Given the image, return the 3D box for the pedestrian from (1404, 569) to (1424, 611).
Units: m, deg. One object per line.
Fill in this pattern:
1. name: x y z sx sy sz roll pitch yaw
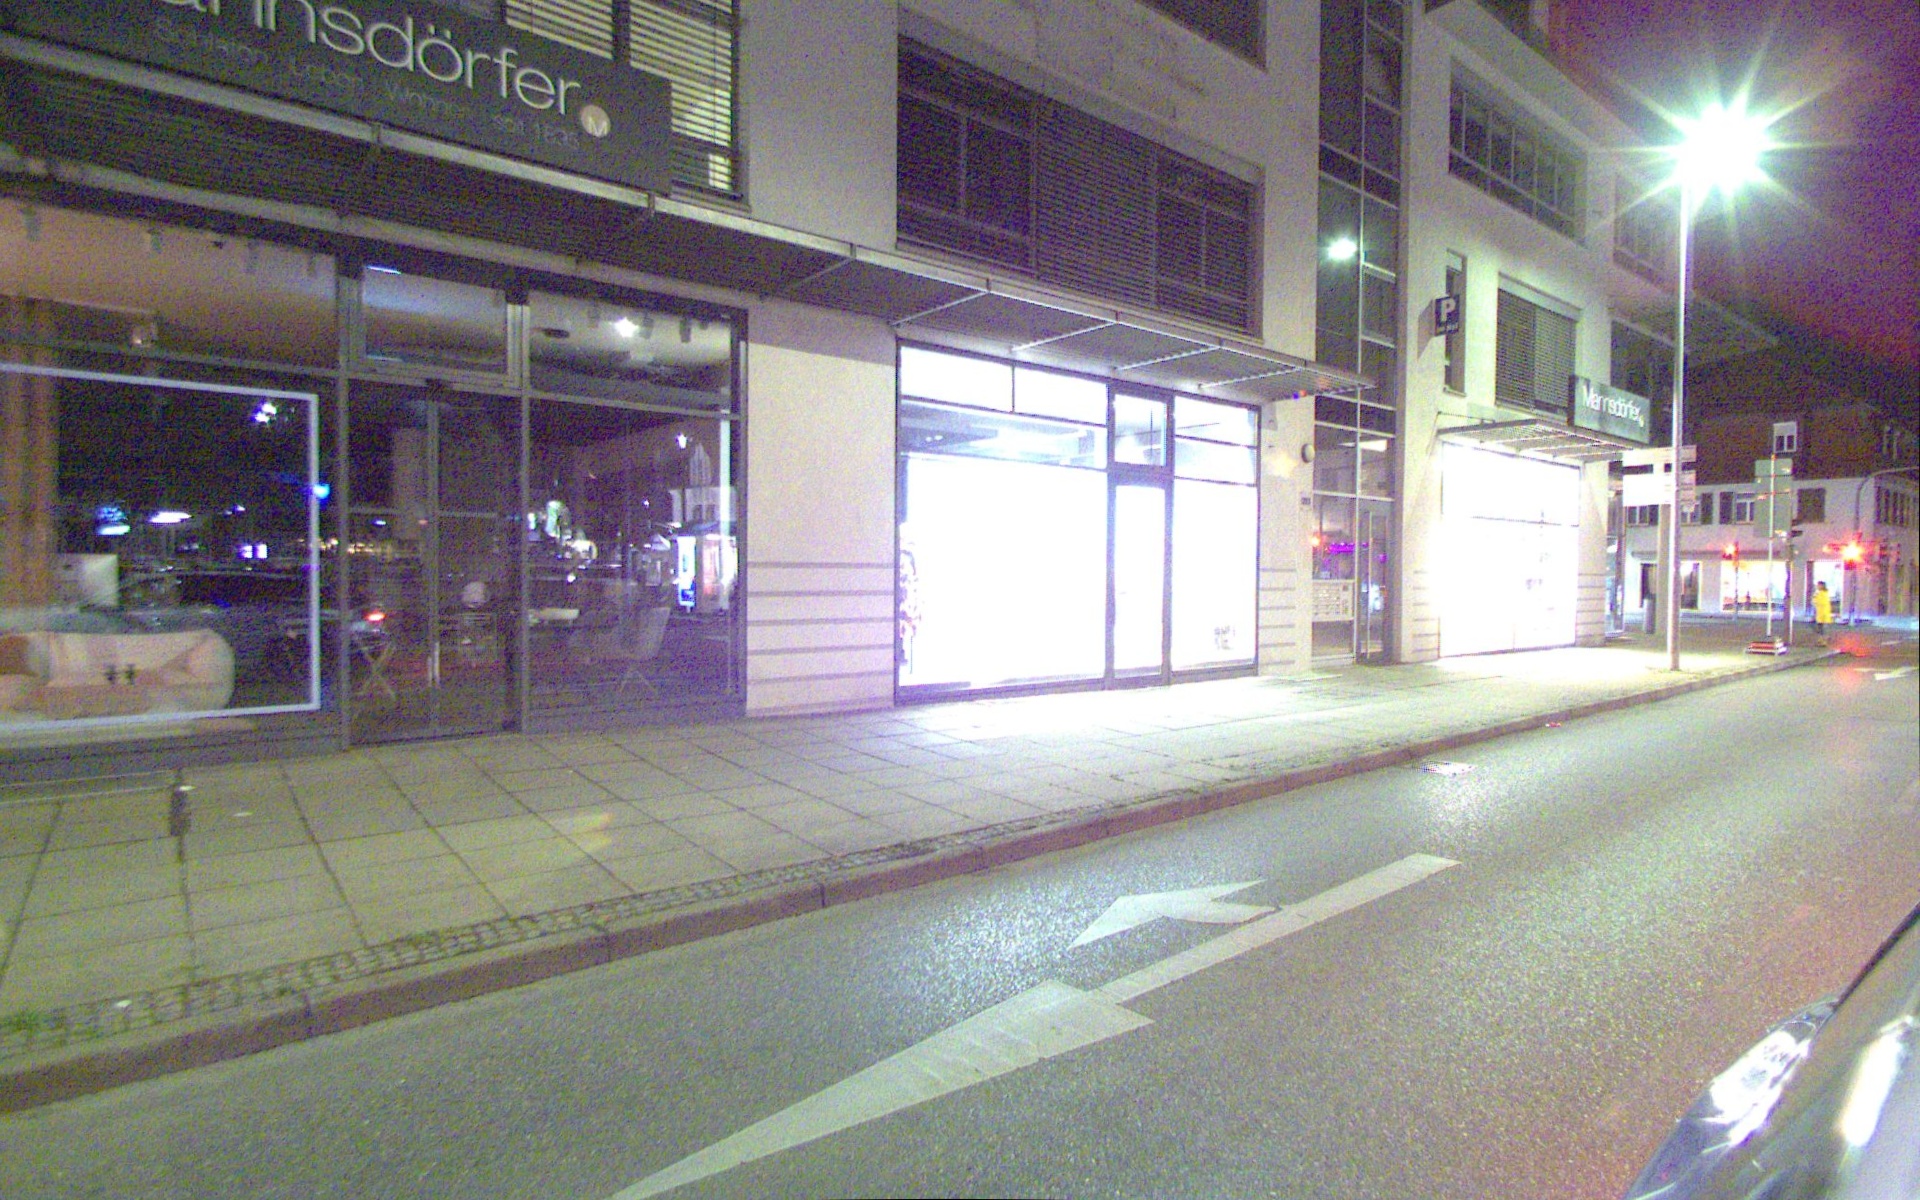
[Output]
1. pedestrian: 19.071 -0.421 42.497 0.556 1.738 0.525 0 0 -33

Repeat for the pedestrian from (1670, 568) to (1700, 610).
1. pedestrian: 31.275 -0.479 43.671 0.635 1.755 0.877 0 2 -37

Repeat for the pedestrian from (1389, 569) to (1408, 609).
1. pedestrian: 19.147 -0.498 44.197 0.556 1.738 0.567 0 0 -34

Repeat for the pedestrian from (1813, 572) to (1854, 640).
1. pedestrian: 22.335 0.143 25.889 0.634 1.703 0.541 0 0 -19
